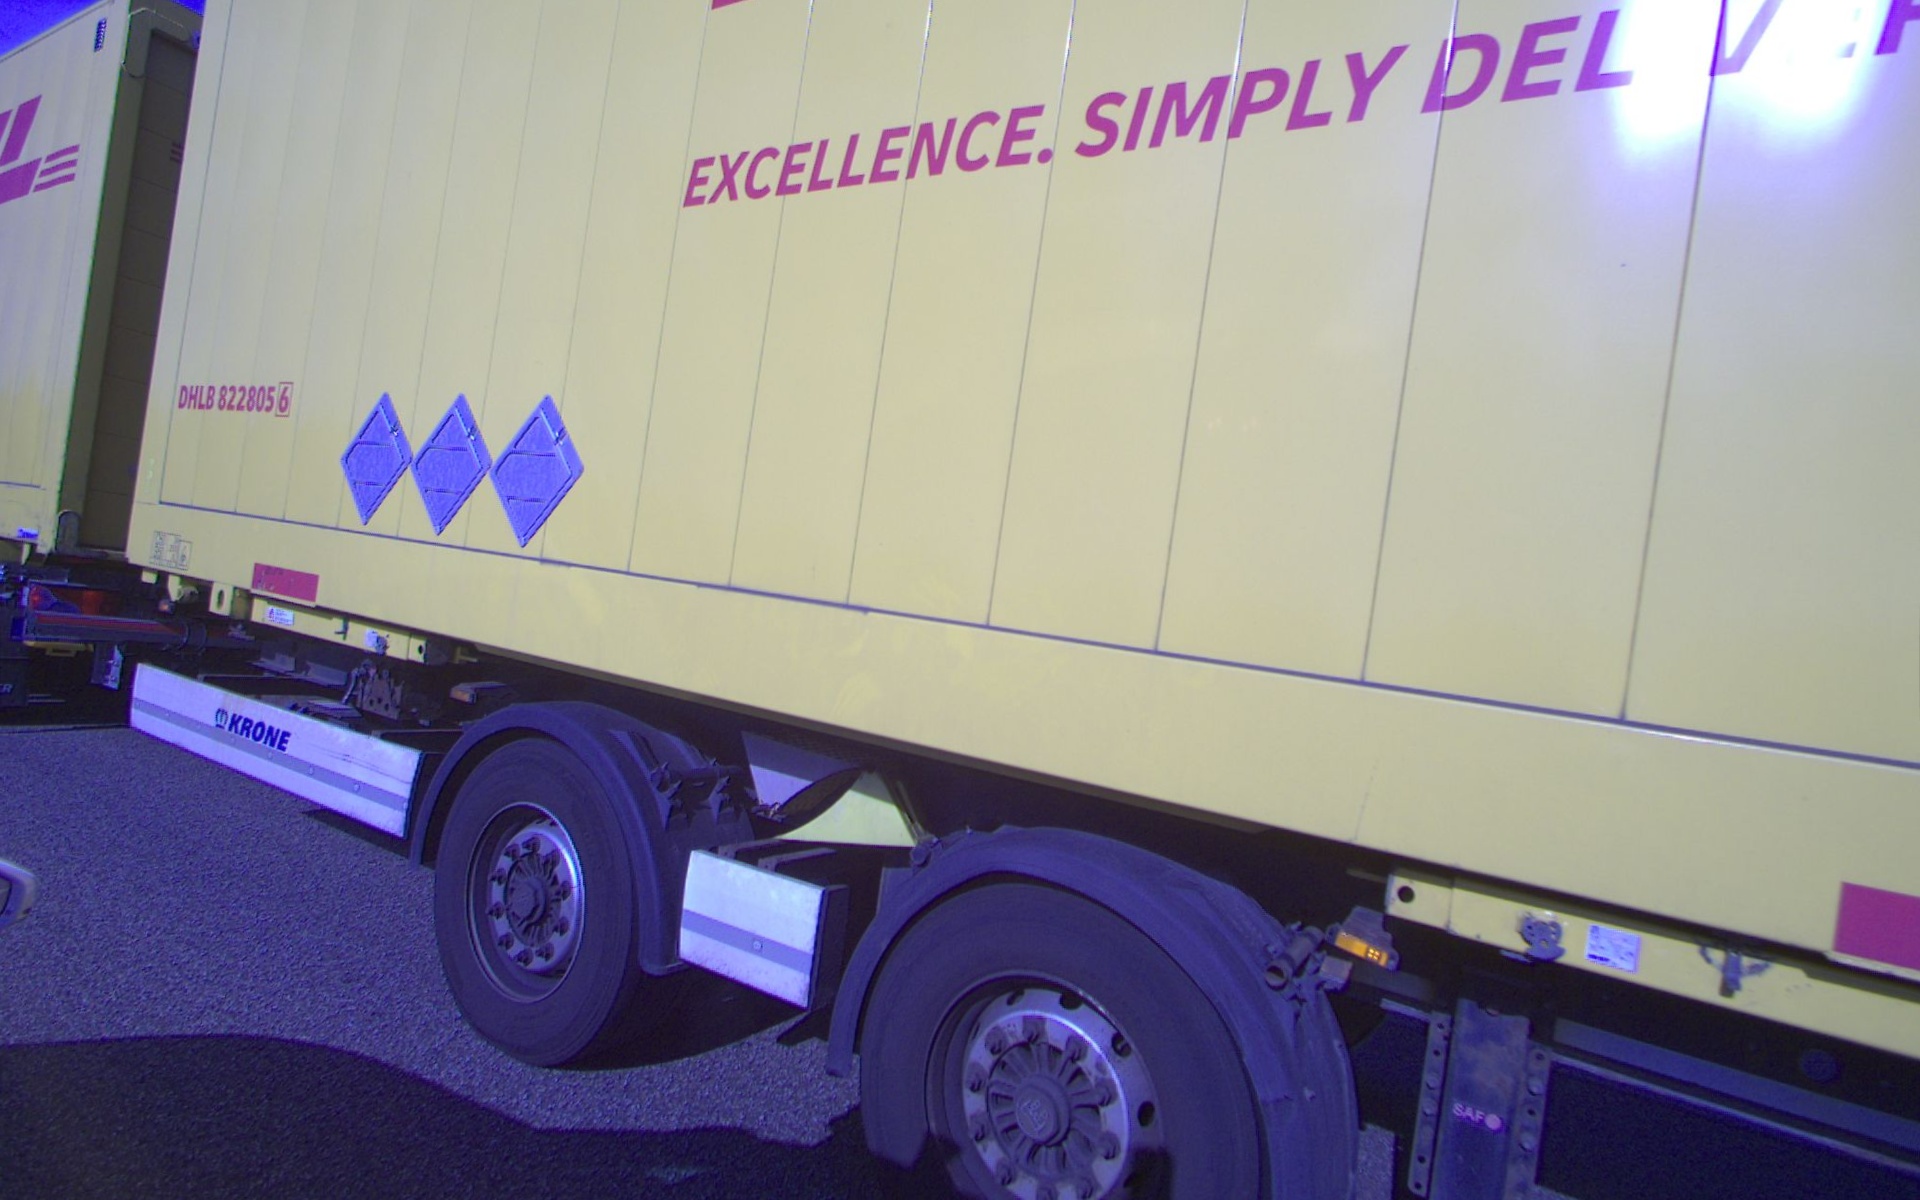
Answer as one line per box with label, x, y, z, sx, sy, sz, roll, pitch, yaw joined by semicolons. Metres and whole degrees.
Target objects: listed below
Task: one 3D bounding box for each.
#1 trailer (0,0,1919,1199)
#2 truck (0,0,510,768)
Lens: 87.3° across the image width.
trailer;-0.349;-0.604;3.836;8.778;4.116;2.416;7;-1;31
truck;-8.117;-1.550;8.630;9.503;4.116;2.416;7;-1;31
